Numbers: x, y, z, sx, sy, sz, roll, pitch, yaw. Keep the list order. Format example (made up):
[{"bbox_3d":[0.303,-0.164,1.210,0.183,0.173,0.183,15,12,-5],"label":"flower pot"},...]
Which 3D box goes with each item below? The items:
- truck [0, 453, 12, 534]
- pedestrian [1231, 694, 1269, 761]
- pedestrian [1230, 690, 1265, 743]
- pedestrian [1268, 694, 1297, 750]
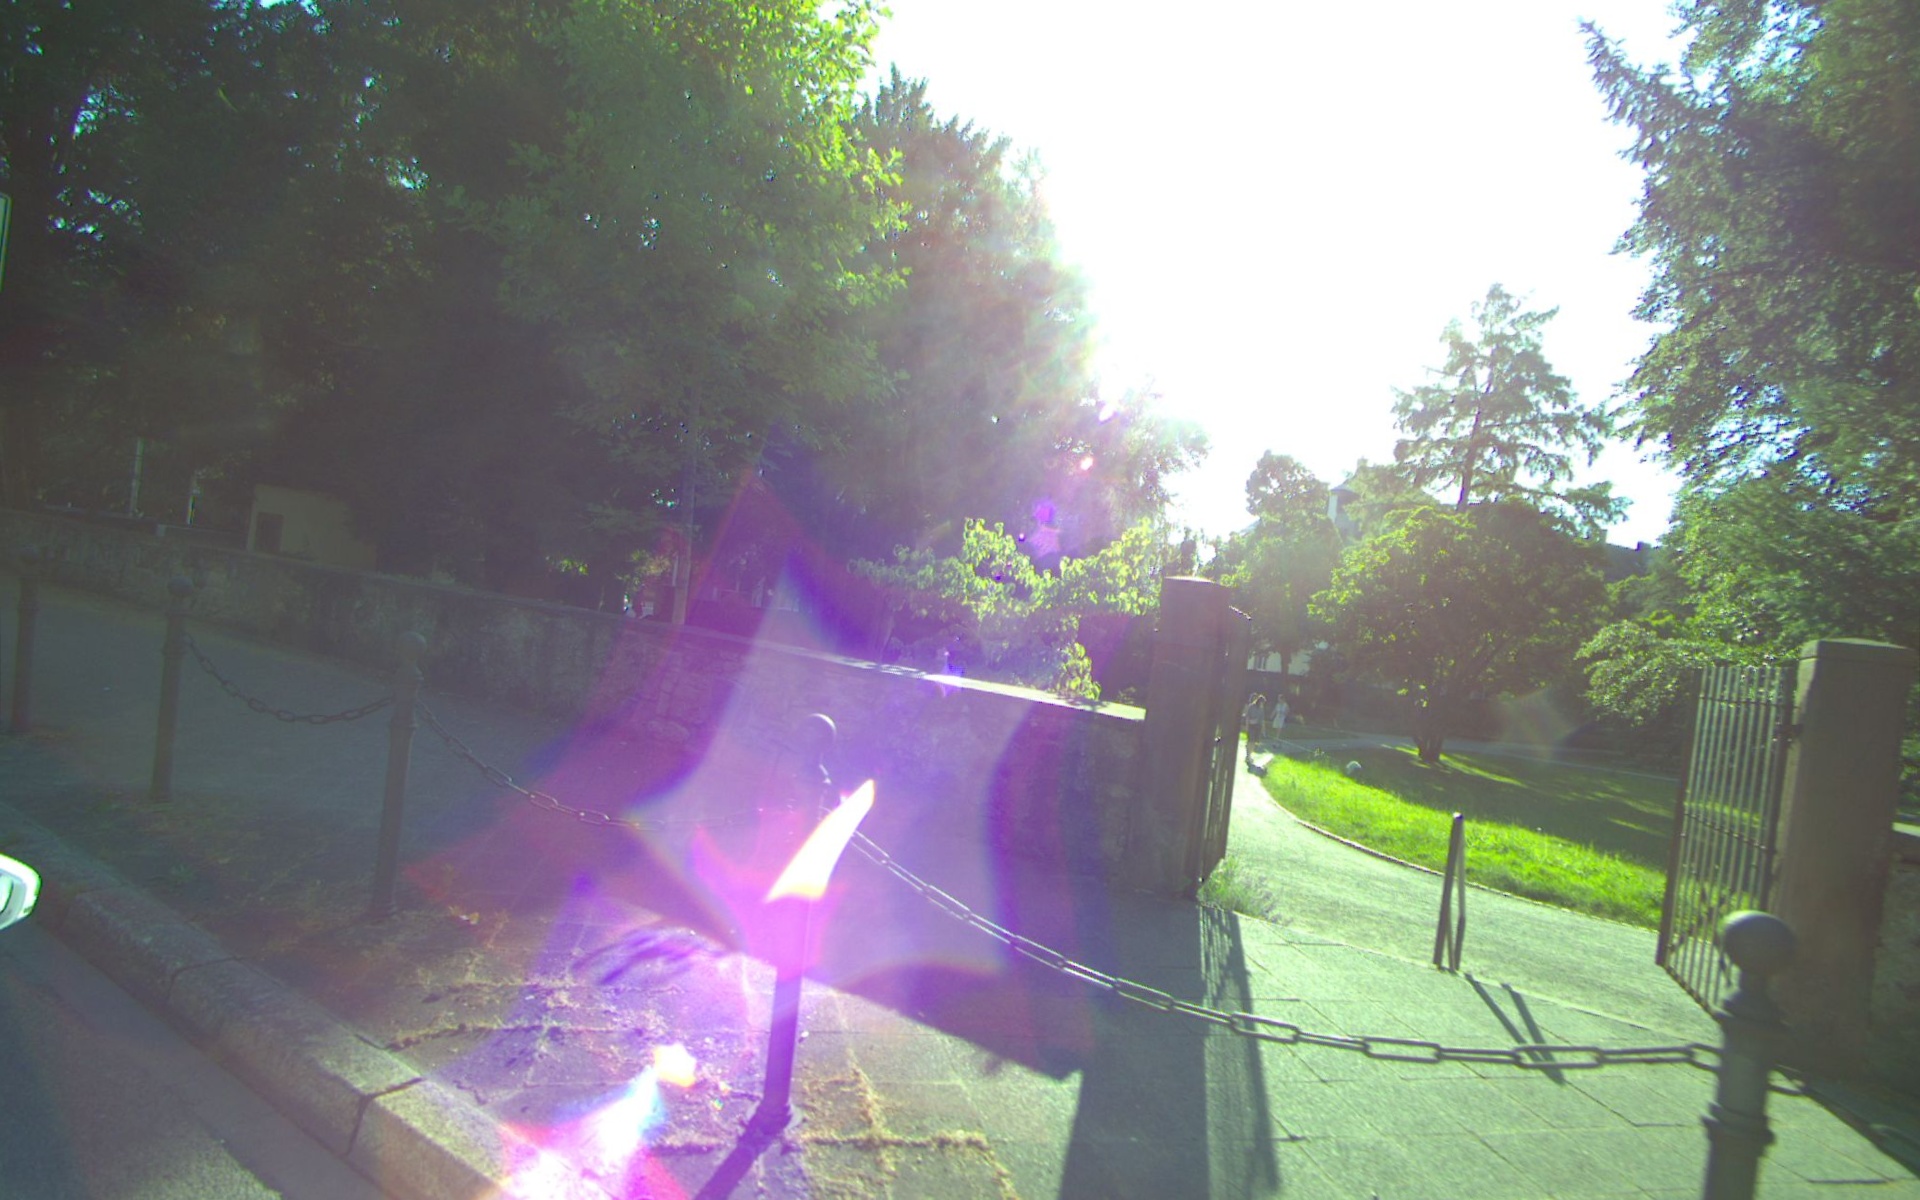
[{"bbox_3d":[-35.221,-3.965,32.172,2.396,2.927,6.594,7,-3,36],"label":"truck"},{"bbox_3d":[7.735,3.398,26.831,0.626,1.659,0.616,7,-2,33],"label":"pedestrian"},{"bbox_3d":[9.584,3.870,33.490,0.563,1.636,0.751,10,-2,-44],"label":"pedestrian"},{"bbox_3d":[10.600,4.003,33.101,0.588,1.749,0.591,7,-2,32],"label":"pedestrian"}]
